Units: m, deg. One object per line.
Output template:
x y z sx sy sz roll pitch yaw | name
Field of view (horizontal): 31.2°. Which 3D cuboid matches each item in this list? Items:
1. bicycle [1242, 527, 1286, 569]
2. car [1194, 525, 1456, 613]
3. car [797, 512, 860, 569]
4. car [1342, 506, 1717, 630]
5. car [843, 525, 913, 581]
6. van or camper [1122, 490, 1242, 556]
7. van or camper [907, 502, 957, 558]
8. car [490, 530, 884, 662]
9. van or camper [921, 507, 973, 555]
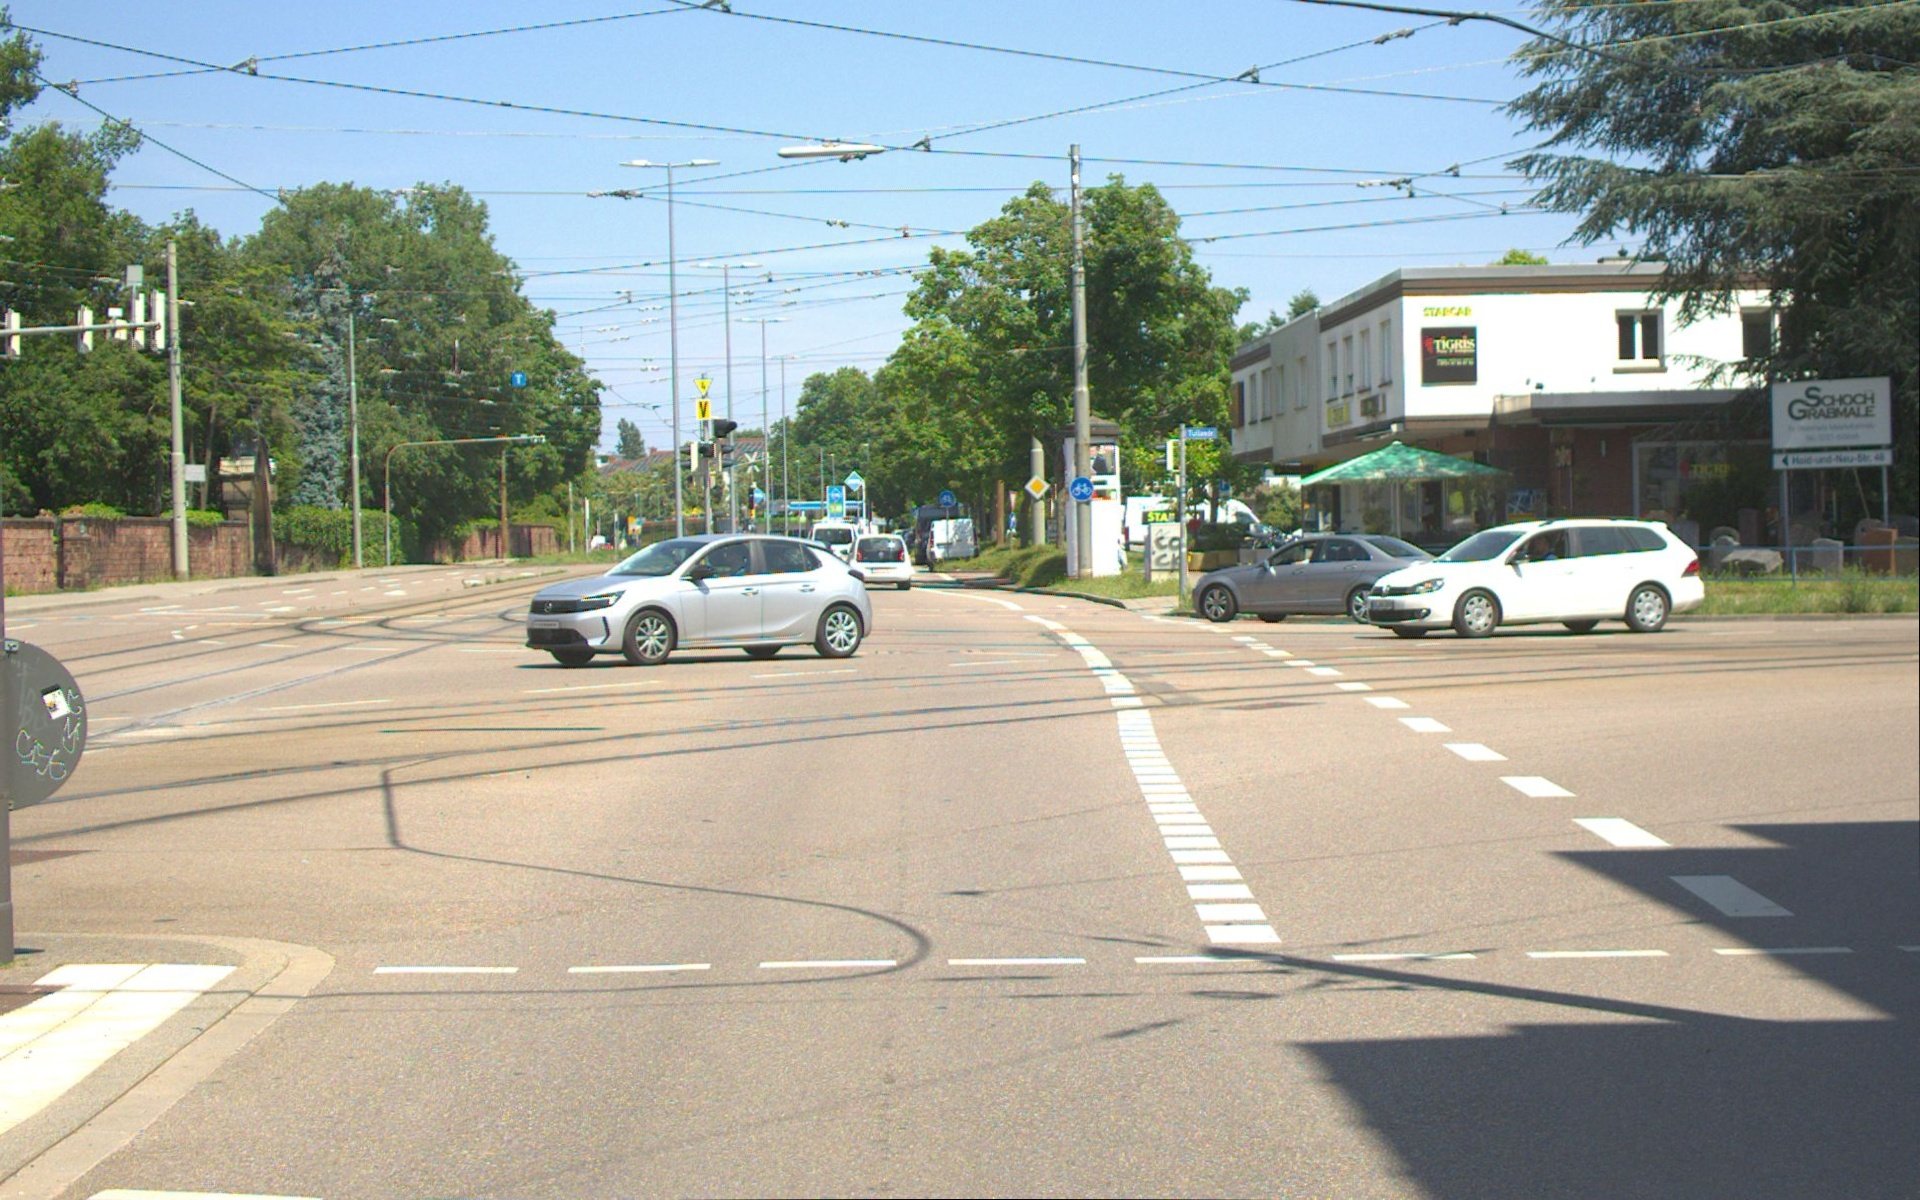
7.473 -1.289 84.511 1.034 1.011 2.636 -1 1 6 | bicycle
5.809 -0.493 54.853 3.836 1.346 1.639 0 1 34 | car
-4.403 -1.983 114.330 1.993 1.853 4.001 -1 1 -3 | car
7.349 -0.434 44.311 4.483 1.484 1.824 -1 1 -24 | car
-2.208 -1.271 91.505 1.670 1.430 3.475 -1 1 -4 | car
9.245 -3.203 143.400 4.756 2.662 2.136 -1 1 -3 | van or camper
-1.262 -3.108 152.846 1.993 2.456 4.001 -1 1 -4 | van or camper
-3.025 -0.073 38.512 4.039 1.358 1.823 -2 1 -37 | car
-0.502 -2.609 130.380 1.922 1.766 4.000 -1 1 -1 | van or camper
